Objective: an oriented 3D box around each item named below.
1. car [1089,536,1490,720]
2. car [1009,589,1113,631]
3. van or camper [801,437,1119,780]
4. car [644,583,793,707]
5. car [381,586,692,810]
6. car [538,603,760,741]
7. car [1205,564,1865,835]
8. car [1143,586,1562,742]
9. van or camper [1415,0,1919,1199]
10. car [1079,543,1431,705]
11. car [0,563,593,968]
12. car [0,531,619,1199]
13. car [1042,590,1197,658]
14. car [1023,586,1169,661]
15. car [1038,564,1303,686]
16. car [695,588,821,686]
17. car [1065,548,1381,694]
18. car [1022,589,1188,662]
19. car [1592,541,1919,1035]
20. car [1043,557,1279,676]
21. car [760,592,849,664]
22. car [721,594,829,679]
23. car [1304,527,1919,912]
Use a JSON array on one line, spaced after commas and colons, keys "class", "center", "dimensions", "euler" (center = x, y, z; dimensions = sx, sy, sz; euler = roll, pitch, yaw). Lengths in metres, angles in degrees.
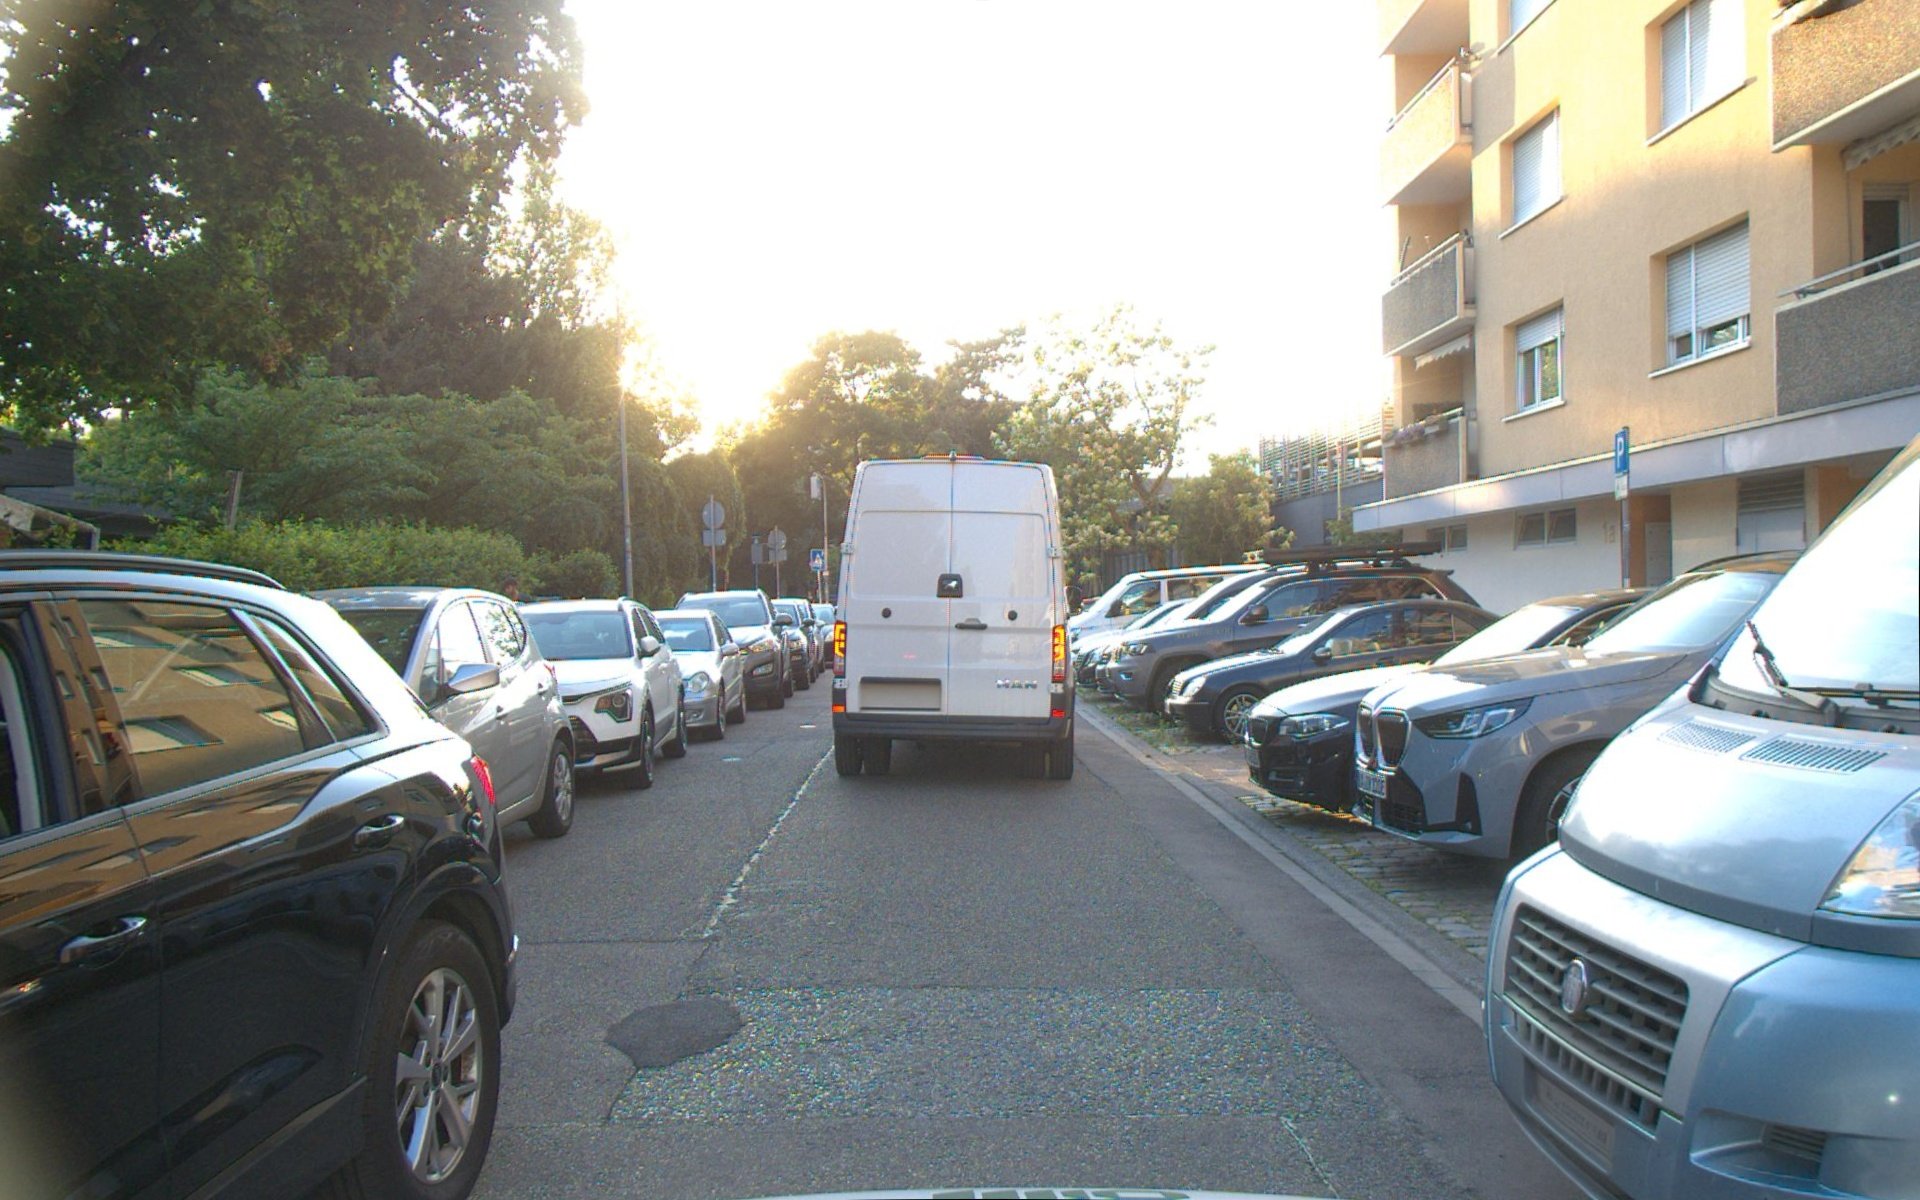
[{"class": "car", "center": [4.033, 0.328, 20.779], "dimensions": [4.612, 2.183, 1.999], "euler": [0, 0, -3]}, {"class": "car", "center": [4.011, 0.404, 65.996], "dimensions": [3.909, 1.646, 1.998], "euler": [0, 0, -5]}, {"class": "van or camper", "center": [0.097, 0.052, 15.750], "dimensions": [2.403, 2.591, 6.084], "euler": [1, 0, 2]}, {"class": "car", "center": [-3.512, 0.613, 24.678], "dimensions": [1.955, 1.691, 3.996], "euler": [0, 0, -5]}, {"class": "car", "center": [-3.466, 0.716, 14.307], "dimensions": [1.819, 1.582, 4.096], "euler": [-2, 0, -4]}, {"class": "car", "center": [-3.519, 0.764, 19.443], "dimensions": [1.953, 1.422, 3.999], "euler": [0, 0, -2]}, {"class": "car", "center": [3.881, 0.625, 11.579], "dimensions": [3.910, 1.479, 1.833], "euler": [-4, 0, -5]}, {"class": "car", "center": [4.220, 0.664, 18.202], "dimensions": [4.151, 1.450, 1.719], "euler": [-3, 0, -2]}, {"class": "van or camper", "center": [4.178, 0.025, 3.581], "dimensions": [5.809, 2.818, 2.109], "euler": [0, 0, -2]}, {"class": "car", "center": [4.100, 0.318, 23.524], "dimensions": [4.612, 2.183, 1.999], "euler": [0, 0, -3]}, {"class": "car", "center": [-3.417, 0.714, 9.129], "dimensions": [1.746, 1.659, 4.000], "euler": [-3, 0, 1]}, {"class": "car", "center": [-2.162, 0.724, 2.753], "dimensions": [1.766, 1.596, 4.568], "euler": [-1, 0, 6]}, {"class": "car", "center": [4.178, 0.609, 43.723], "dimensions": [3.905, 1.758, 2.000], "euler": [0, 0, -1]}, {"class": "car", "center": [3.738, 0.631, 46.035], "dimensions": [3.905, 2.049, 2.000], "euler": [0, 0, 0]}, {"class": "car", "center": [3.835, 0.436, 30.625], "dimensions": [4.612, 2.183, 1.999], "euler": [0, 0, -3]}, {"class": "car", "center": [-3.573, 0.613, 29.884], "dimensions": [1.954, 1.646, 3.998], "euler": [0, 0, -3]}, {"class": "car", "center": [4.044, 0.309, 25.951], "dimensions": [4.612, 2.183, 1.999], "euler": [0, 0, -3]}, {"class": "car", "center": [3.528, 0.608, 40.671], "dimensions": [3.905, 1.758, 2.000], "euler": [0, 0, -1]}, {"class": "car", "center": [5.044, 0.545, 6.630], "dimensions": [4.350, 1.623, 1.770], "euler": [-2, 0, -8]}, {"class": "car", "center": [3.917, 0.316, 32.812], "dimensions": [4.405, 2.269, 2.031], "euler": [0, 0, -2]}, {"class": "car", "center": [-3.693, 0.643, 39.914], "dimensions": [1.954, 1.646, 3.998], "euler": [0, 0, -3]}, {"class": "car", "center": [-3.758, 0.707, 34.193], "dimensions": [1.954, 1.646, 3.998], "euler": [0, 0, -3]}, {"class": "car", "center": [4.292, 0.527, 9.039], "dimensions": [4.350, 1.758, 1.770], "euler": [-2, 0, -8]}]
